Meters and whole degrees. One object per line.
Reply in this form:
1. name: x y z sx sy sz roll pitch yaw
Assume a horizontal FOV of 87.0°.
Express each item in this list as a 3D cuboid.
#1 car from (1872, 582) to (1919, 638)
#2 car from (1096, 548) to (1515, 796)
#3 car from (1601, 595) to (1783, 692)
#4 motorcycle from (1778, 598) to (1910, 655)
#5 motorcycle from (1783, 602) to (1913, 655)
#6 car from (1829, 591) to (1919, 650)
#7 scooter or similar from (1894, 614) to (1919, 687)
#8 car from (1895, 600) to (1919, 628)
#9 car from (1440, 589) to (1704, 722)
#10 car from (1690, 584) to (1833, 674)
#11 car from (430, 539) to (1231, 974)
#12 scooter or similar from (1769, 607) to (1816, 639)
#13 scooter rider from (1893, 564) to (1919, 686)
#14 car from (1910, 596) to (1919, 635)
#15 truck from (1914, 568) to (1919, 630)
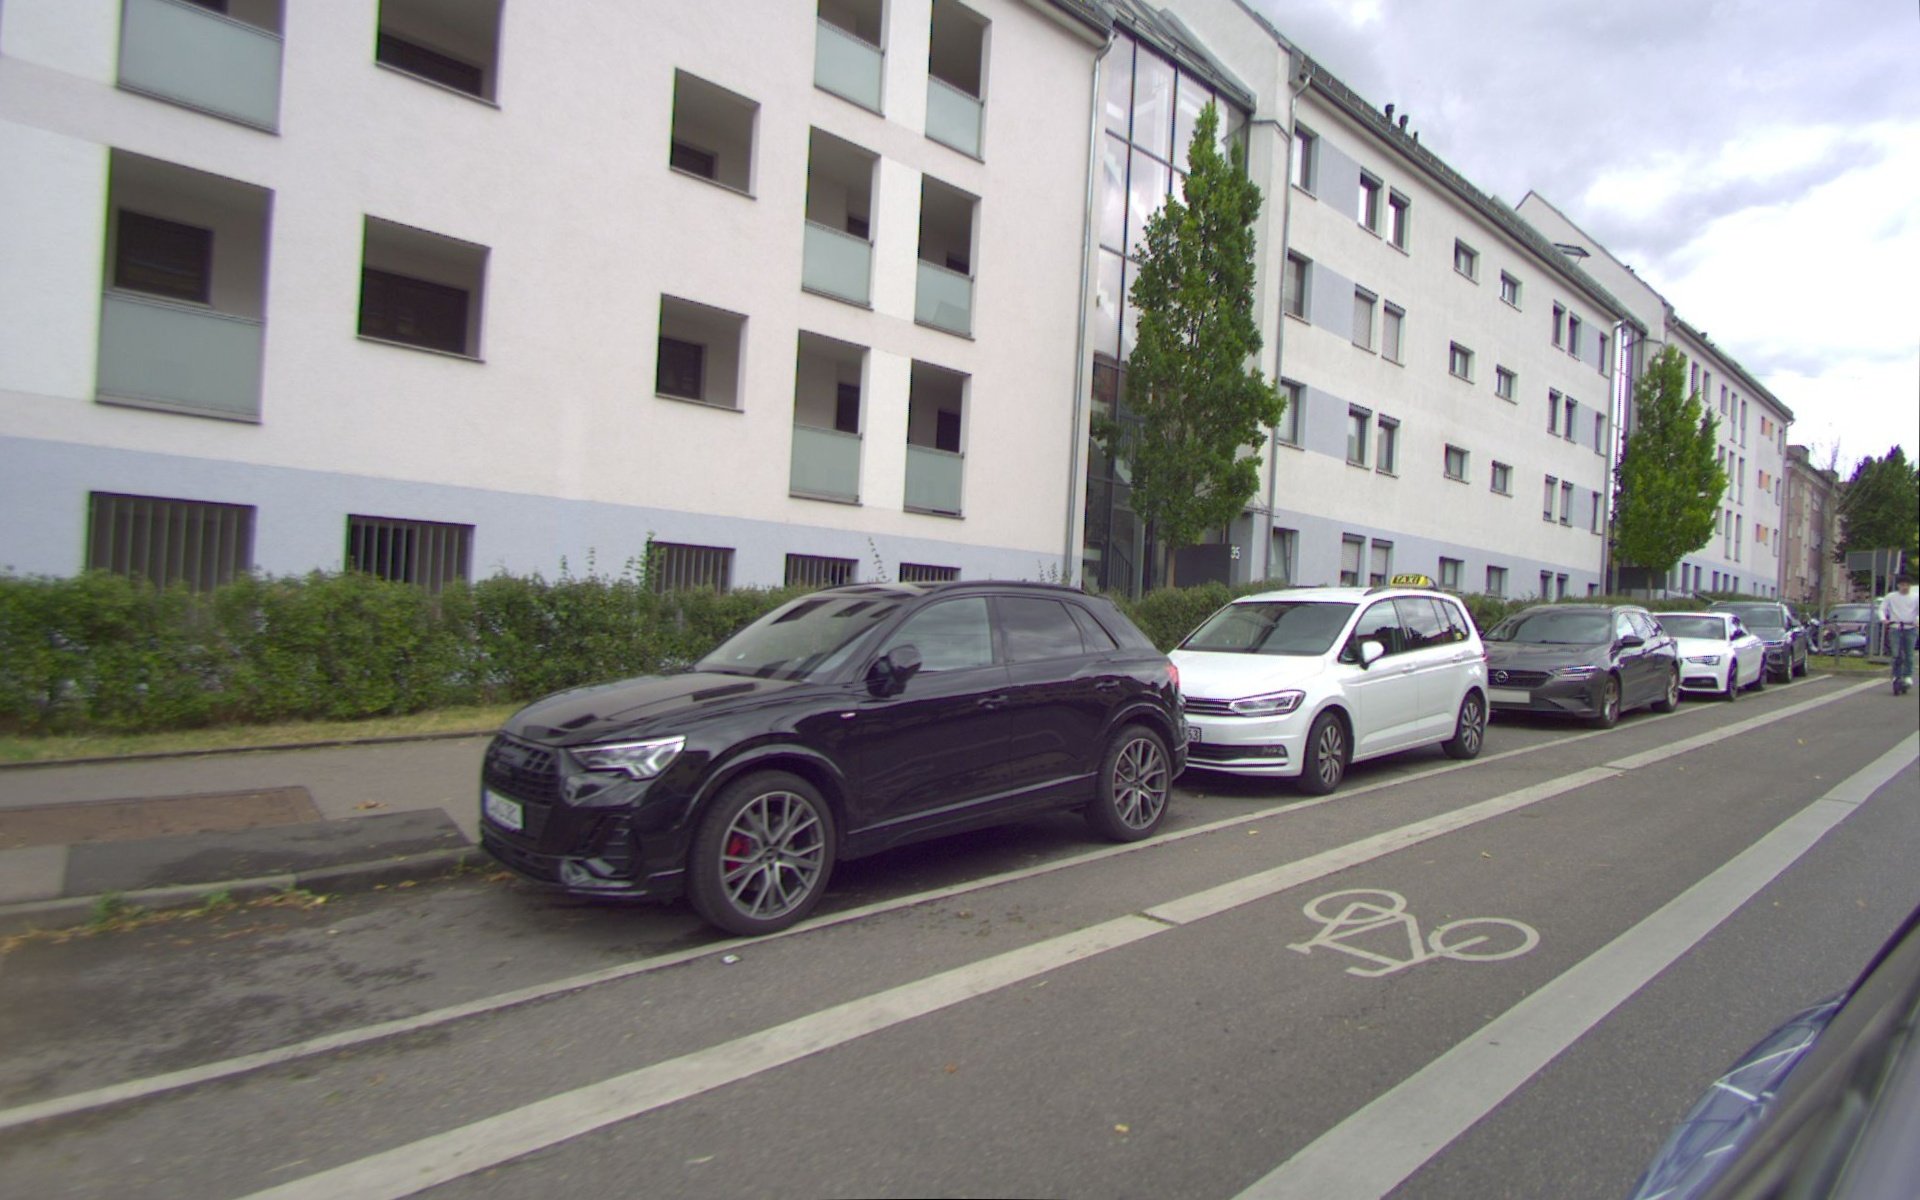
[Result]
1. car: 35.186 0.379 37.138 5.121 1.968 1.997 1 1 -42
2. car: 3.338 0.526 9.239 4.473 1.738 1.661 1 -1 -42
3. car: 12.516 0.665 17.191 4.424 1.431 1.731 1 -1 -44
4. motorcycle: 23.456 0.675 26.908 0.681 1.398 2.599 1 0 -44
5. motorcycle: 24.077 0.750 27.482 0.741 1.295 2.599 1 1 -44
6. car: 26.564 0.559 29.247 4.265 1.564 1.683 1 0 -43
7. scooter or similar: 16.261 0.837 17.105 2.039 1.178 0.491 1 0 -42
8. car: 57.384 0.886 58.602 1.865 1.640 4.371 1 1 -22
9. car: 8.337 0.640 13.575 4.864 1.486 1.747 1 -1 -43
10. car: 16.479 0.553 20.723 4.281 1.671 1.634 1 -1 -42
11. car: -0.411 0.570 5.919 4.495 1.608 1.736 0 0 -43
12. scooter or similar: 30.966 0.849 37.663 0.460 1.119 1.387 1 1 -5
13. scooter rider: 16.279 0.417 17.131 0.744 2.039 0.626 1 0 -42
14. car: 39.189 0.617 40.398 3.661 1.505 1.527 1 -1 -41
15. truck: 43.365 0.014 44.163 5.592 2.598 2.055 1 0 -42
